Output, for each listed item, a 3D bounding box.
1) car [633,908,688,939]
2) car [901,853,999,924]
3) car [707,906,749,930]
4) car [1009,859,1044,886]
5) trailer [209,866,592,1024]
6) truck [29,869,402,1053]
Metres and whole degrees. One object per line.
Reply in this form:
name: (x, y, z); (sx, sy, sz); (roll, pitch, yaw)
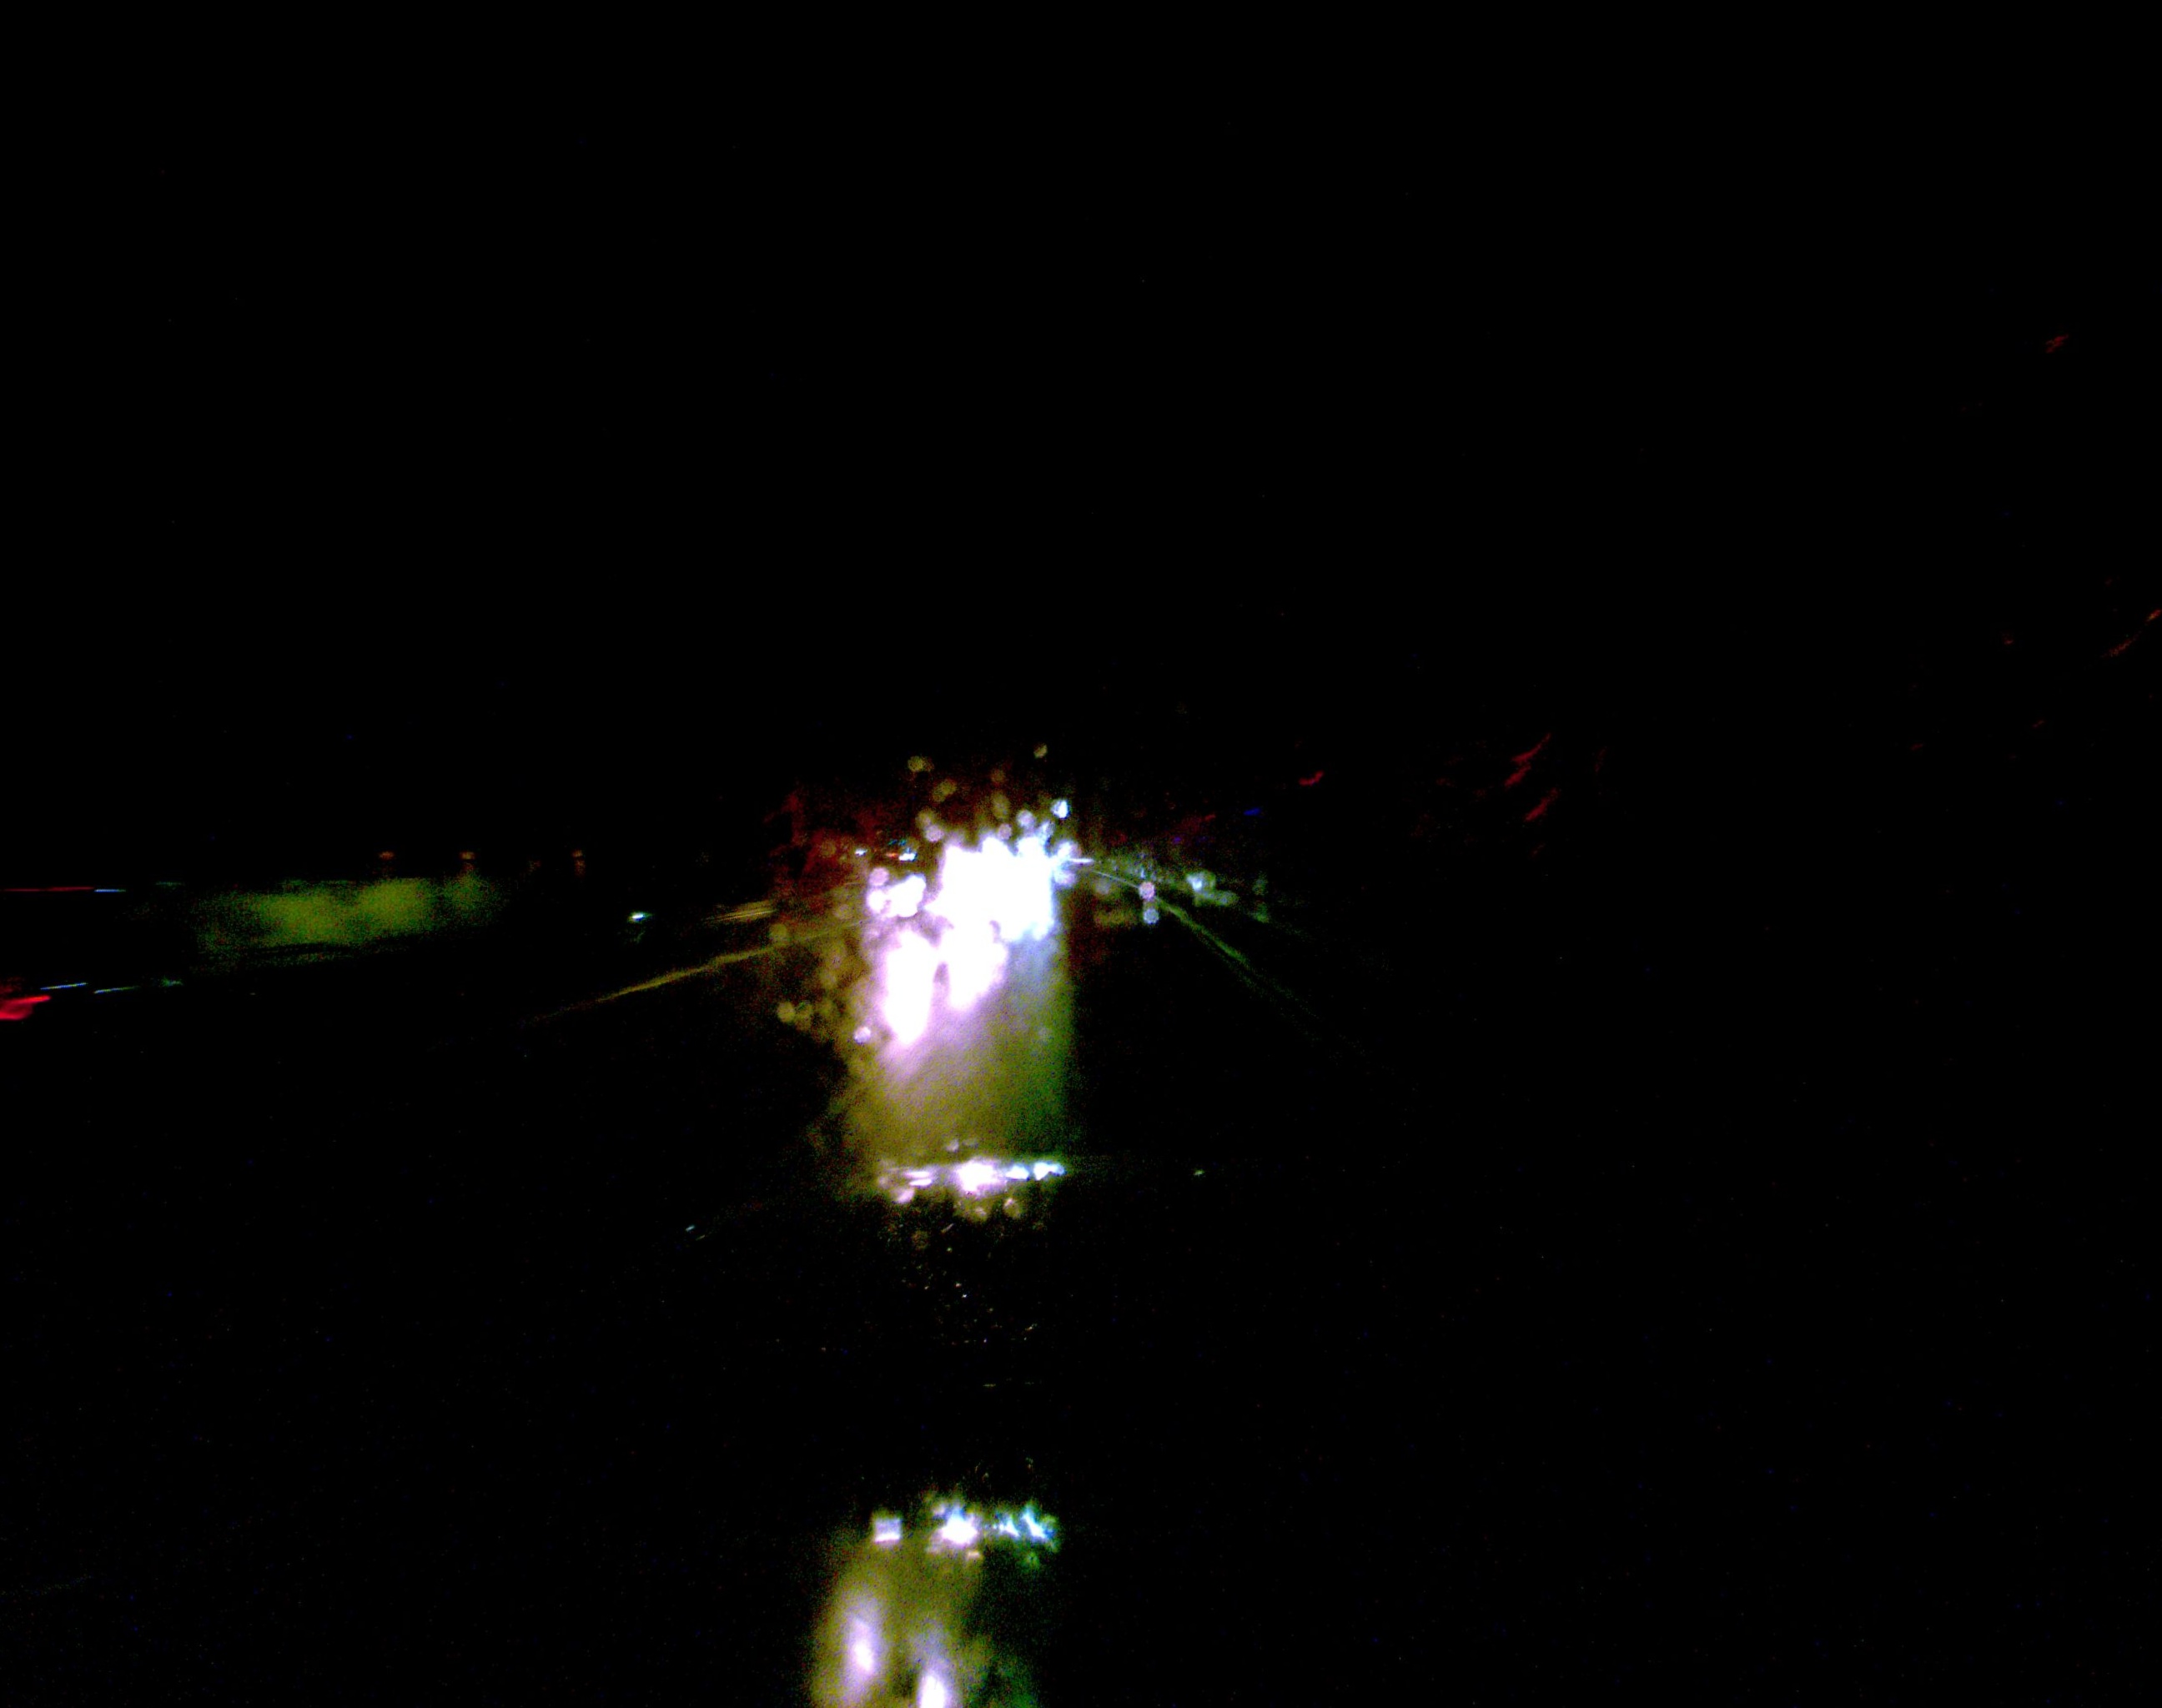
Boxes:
car: (-27.540, 4.509, 53.499); (1.806, 1.676, 4.282); (-1, 0, -7)
car: (-3.100, 0.773, 19.979); (1.630, 1.519, 3.771); (-2, 0, 1)
car: (-27.495, 4.964, 63.511); (1.806, 1.570, 4.282); (-1, 0, -7)
car: (-3.170, 1.064, 47.986); (1.780, 1.479, 3.679); (-1, 0, 0)
trailer: (-25.114, 2.963, 31.529); (3.303, 4.796, 11.599); (-1, 0, 14)
truck: (-26.572, 2.946, 25.702); (3.303, 4.796, 7.347); (-1, 0, 14)
